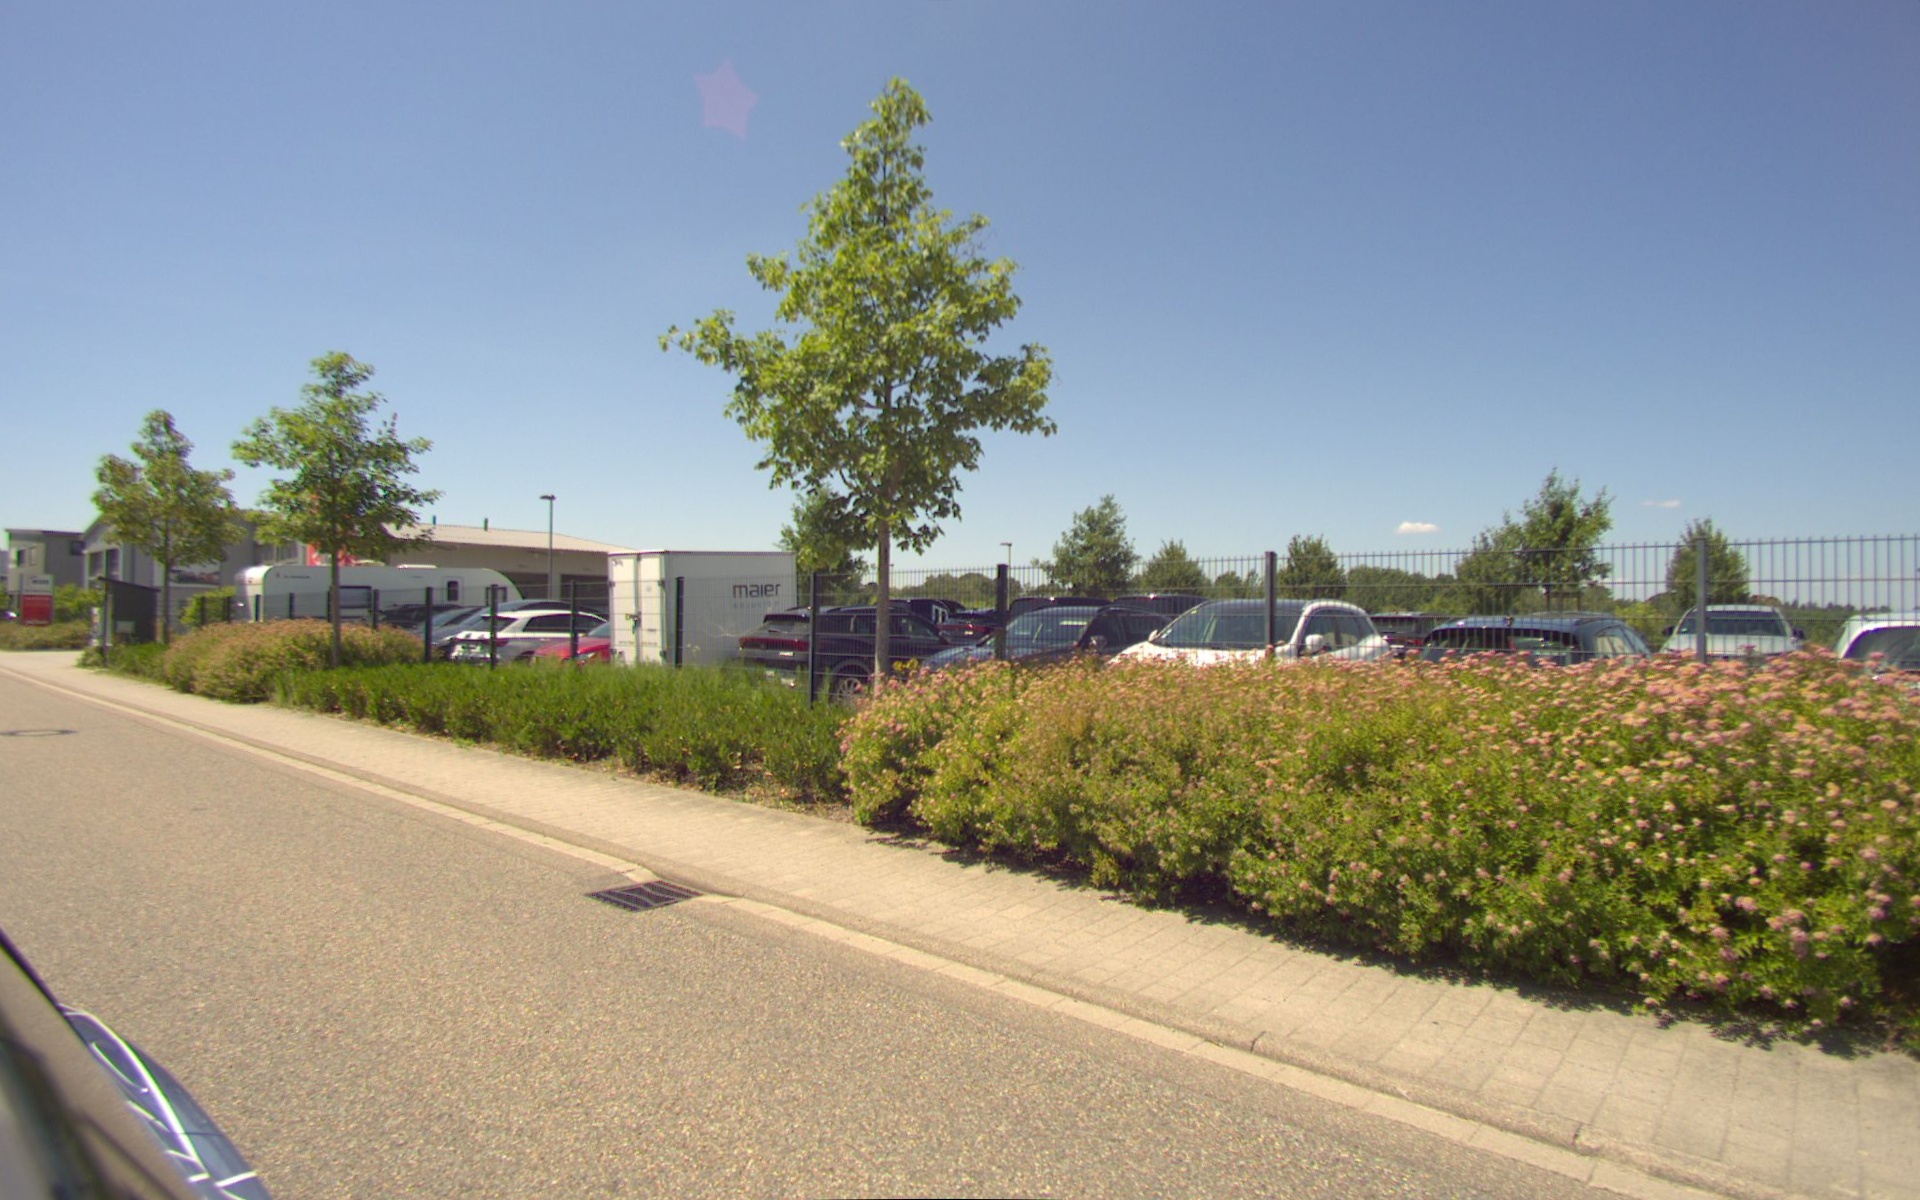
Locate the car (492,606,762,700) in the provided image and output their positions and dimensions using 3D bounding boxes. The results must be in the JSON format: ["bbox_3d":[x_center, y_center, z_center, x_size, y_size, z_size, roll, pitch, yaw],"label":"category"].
[{"bbox_3d":[-5.797,0.877,18.028,1.998,1.463,4.165,-1,-2,39],"label":"car"}]

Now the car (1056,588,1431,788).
[{"bbox_3d":[3.196,0.770,10.718,1.999,1.641,4.682,-1,-2,41],"label":"car"}]

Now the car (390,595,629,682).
[{"bbox_3d":[-9.623,0.790,21.972,1.773,1.678,4.469,-1,-1,35],"label":"car"}]

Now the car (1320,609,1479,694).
[{"bbox_3d":[8.738,0.951,19.962,1.861,1.497,3.947,-1,-1,39],"label":"car"}]

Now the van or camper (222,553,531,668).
[{"bbox_3d":[-15.450,0.342,27.250,2.574,2.704,6.704,-1,-2,41],"label":"van or camper"}]

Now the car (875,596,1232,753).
[{"bbox_3d":[1.338,0.789,12.419,1.999,1.547,4.682,-1,-2,41],"label":"car"}]

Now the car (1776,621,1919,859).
[{"bbox_3d":[7.424,0.925,7.620,1.903,1.510,3.336,-1,-1,40],"label":"car"}]

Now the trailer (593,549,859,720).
[{"bbox_3d":[-3.602,0.463,16.181,1.724,2.378,3.949,-1,0,38],"label":"trailer"}]

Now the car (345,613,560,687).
[{"bbox_3d":[-12.562,1.192,25.278,1.776,1.678,4.463,-1,-2,40],"label":"car"}]

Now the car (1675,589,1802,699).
[{"bbox_3d":[12.742,0.672,16.504,1.476,1.596,3.436,-1,-1,40],"label":"car"}]

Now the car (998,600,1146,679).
[{"bbox_3d":[2.836,0.938,25.097,1.804,1.785,3.947,-1,-2,39],"label":"car"}]

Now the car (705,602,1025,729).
[{"bbox_3d":[-1.221,0.848,14.697,1.999,1.547,4.499,-1,-2,41],"label":"car"}]

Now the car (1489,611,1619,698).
[{"bbox_3d":[10.866,0.928,18.436,1.476,1.425,3.436,-1,-1,40],"label":"car"}]

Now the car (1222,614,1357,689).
[{"bbox_3d":[6.859,0.995,20.919,1.476,1.425,3.436,-1,-1,40],"label":"car"}]

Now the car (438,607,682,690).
[{"bbox_3d":[-7.752,0.902,19.971,1.775,1.463,4.166,-1,-2,38],"label":"car"}]

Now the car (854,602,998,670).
[{"bbox_3d":[-0.898,0.998,28.720,1.998,1.785,3.947,-1,-2,40],"label":"car"}]
